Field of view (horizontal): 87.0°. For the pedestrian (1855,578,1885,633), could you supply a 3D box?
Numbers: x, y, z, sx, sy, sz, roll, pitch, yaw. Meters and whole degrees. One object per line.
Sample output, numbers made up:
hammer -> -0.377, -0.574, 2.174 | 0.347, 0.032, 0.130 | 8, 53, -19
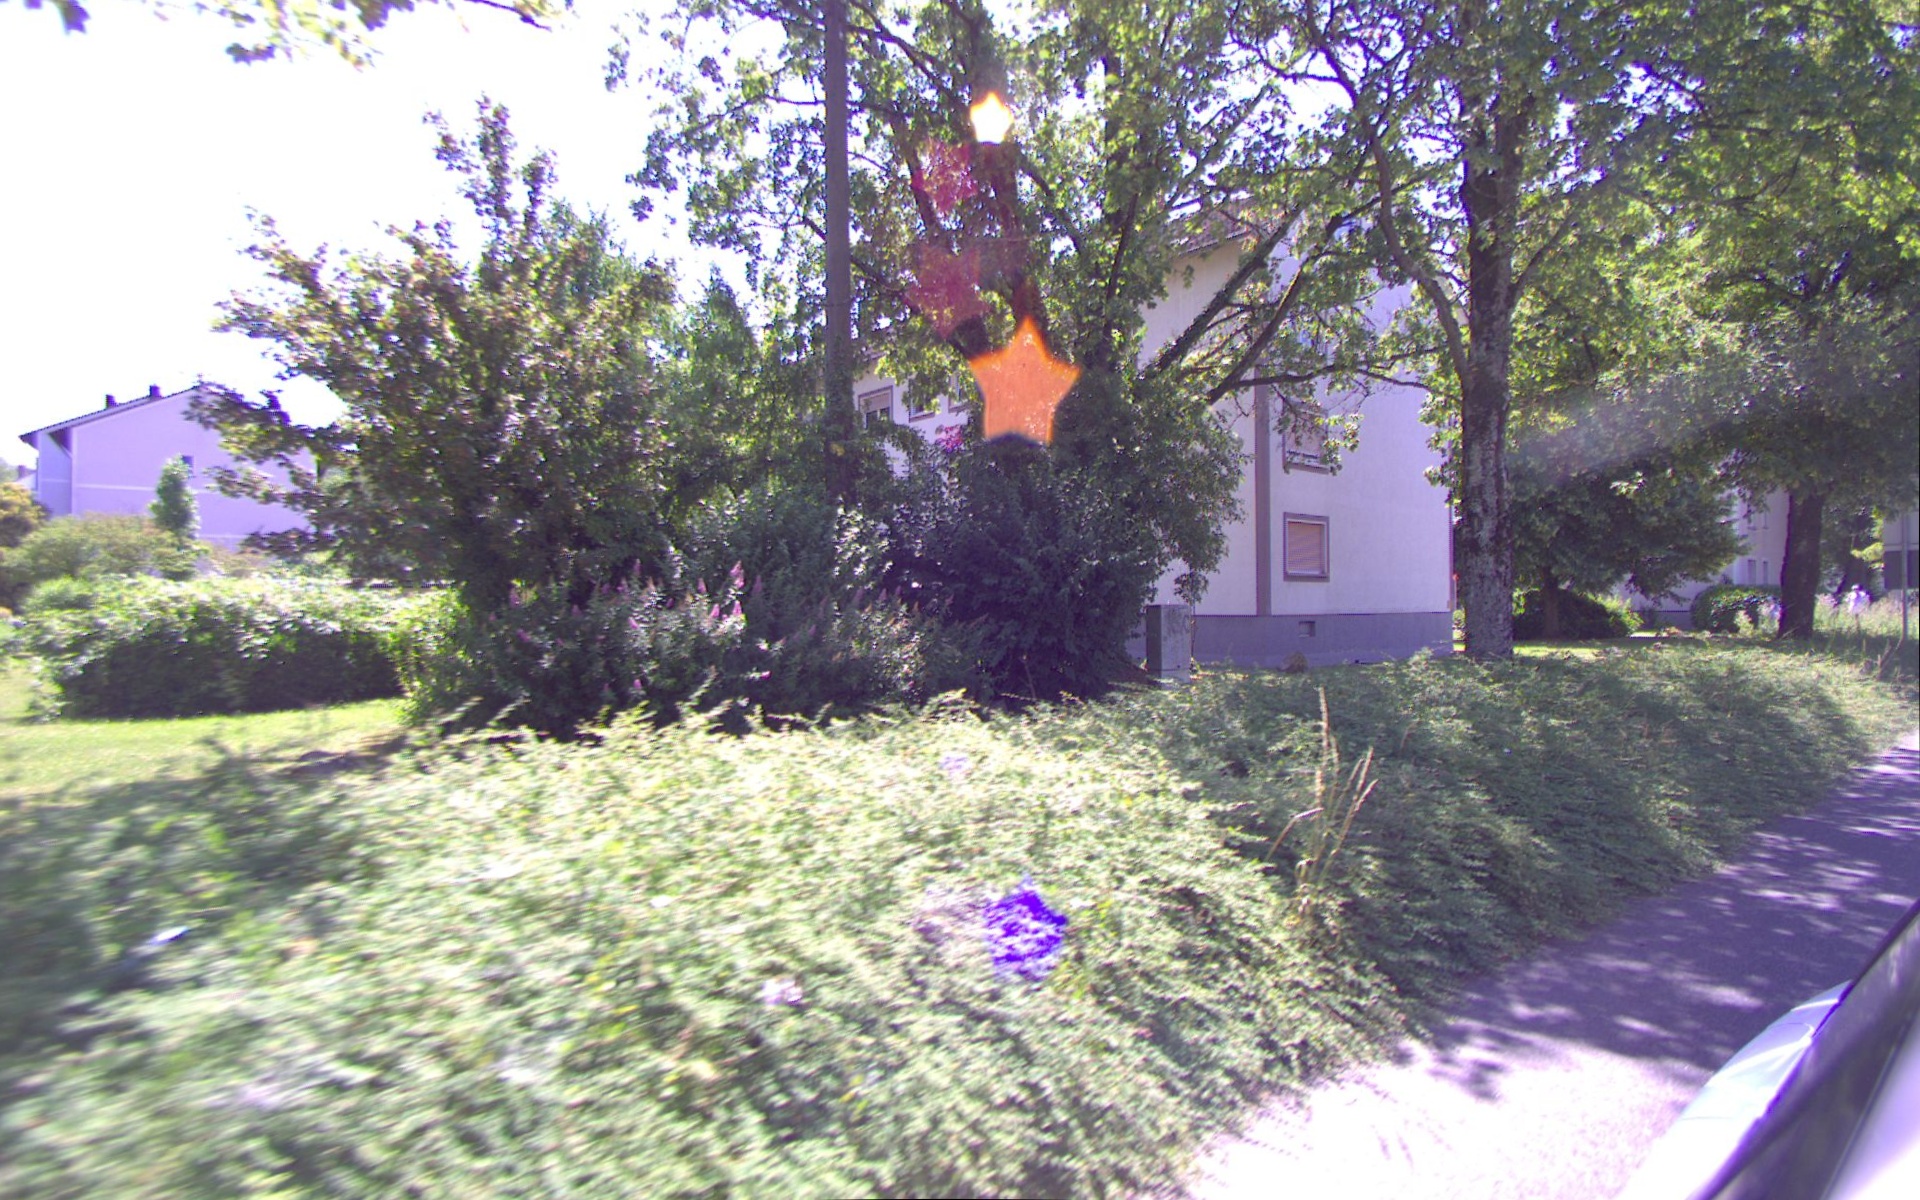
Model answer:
pedestrian -> 32.487, 0.195, 36.129 | 0.610, 1.950, 0.677 | 0, -1, -40

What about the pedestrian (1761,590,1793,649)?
pedestrian -> 26.963, 0.634, 33.404 | 0.610, 1.950, 0.677 | 0, -1, -40
